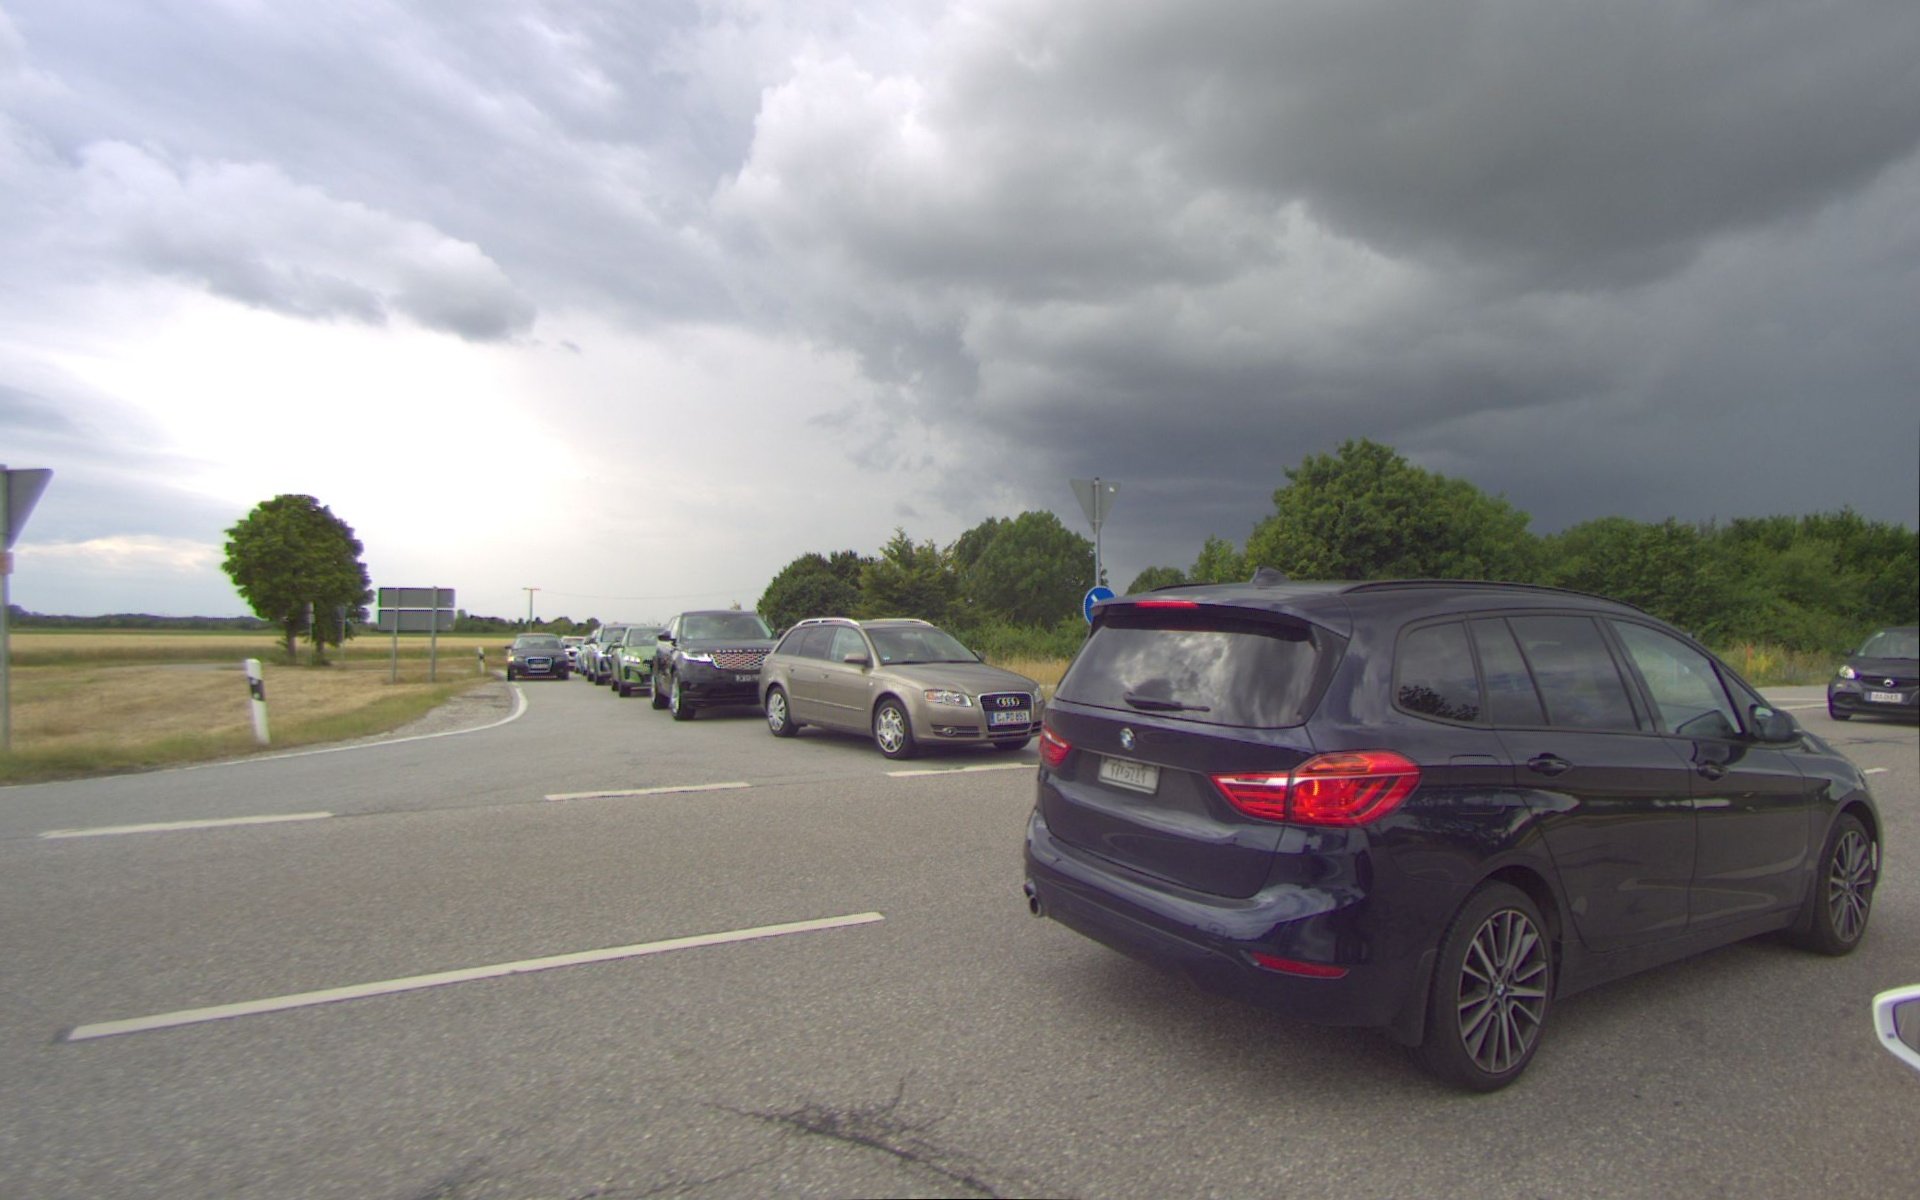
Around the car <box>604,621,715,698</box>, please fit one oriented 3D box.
[{"bbox_3d":[-7.040,1.284,23.128,1.884,1.541,5.274,1,-2,-23],"label":"car"}]

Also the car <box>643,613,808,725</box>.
[{"bbox_3d":[-4.014,1.038,16.556,1.884,1.552,4.729,1,-2,-23],"label":"car"}]

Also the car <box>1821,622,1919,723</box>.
[{"bbox_3d":[15.669,1.139,16.304,3.132,1.503,1.653,2,-1,-31],"label":"car"}]

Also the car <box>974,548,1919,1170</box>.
[{"bbox_3d":[2.396,0.722,4.506,4.430,1.633,1.694,2,0,-31],"label":"car"}]

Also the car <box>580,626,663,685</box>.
[{"bbox_3d":[-9.692,1.515,28.563,1.884,1.537,4.614,1,-2,-23],"label":"car"}]

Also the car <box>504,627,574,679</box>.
[{"bbox_3d":[-13.277,1.625,31.696,1.884,1.502,4.388,1,-2,-23],"label":"car"}]

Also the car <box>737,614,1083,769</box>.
[{"bbox_3d":[-0.783,0.918,11.716,1.893,1.443,4.418,2,-2,-37],"label":"car"}]

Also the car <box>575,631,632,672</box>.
[{"bbox_3d":[-14.237,2.002,39.950,1.884,1.502,4.481,1,-2,-23],"label":"car"}]

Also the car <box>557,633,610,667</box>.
[{"bbox_3d":[-17.800,2.333,47.382,1.886,1.502,4.477,1,-2,-26],"label":"car"}]
